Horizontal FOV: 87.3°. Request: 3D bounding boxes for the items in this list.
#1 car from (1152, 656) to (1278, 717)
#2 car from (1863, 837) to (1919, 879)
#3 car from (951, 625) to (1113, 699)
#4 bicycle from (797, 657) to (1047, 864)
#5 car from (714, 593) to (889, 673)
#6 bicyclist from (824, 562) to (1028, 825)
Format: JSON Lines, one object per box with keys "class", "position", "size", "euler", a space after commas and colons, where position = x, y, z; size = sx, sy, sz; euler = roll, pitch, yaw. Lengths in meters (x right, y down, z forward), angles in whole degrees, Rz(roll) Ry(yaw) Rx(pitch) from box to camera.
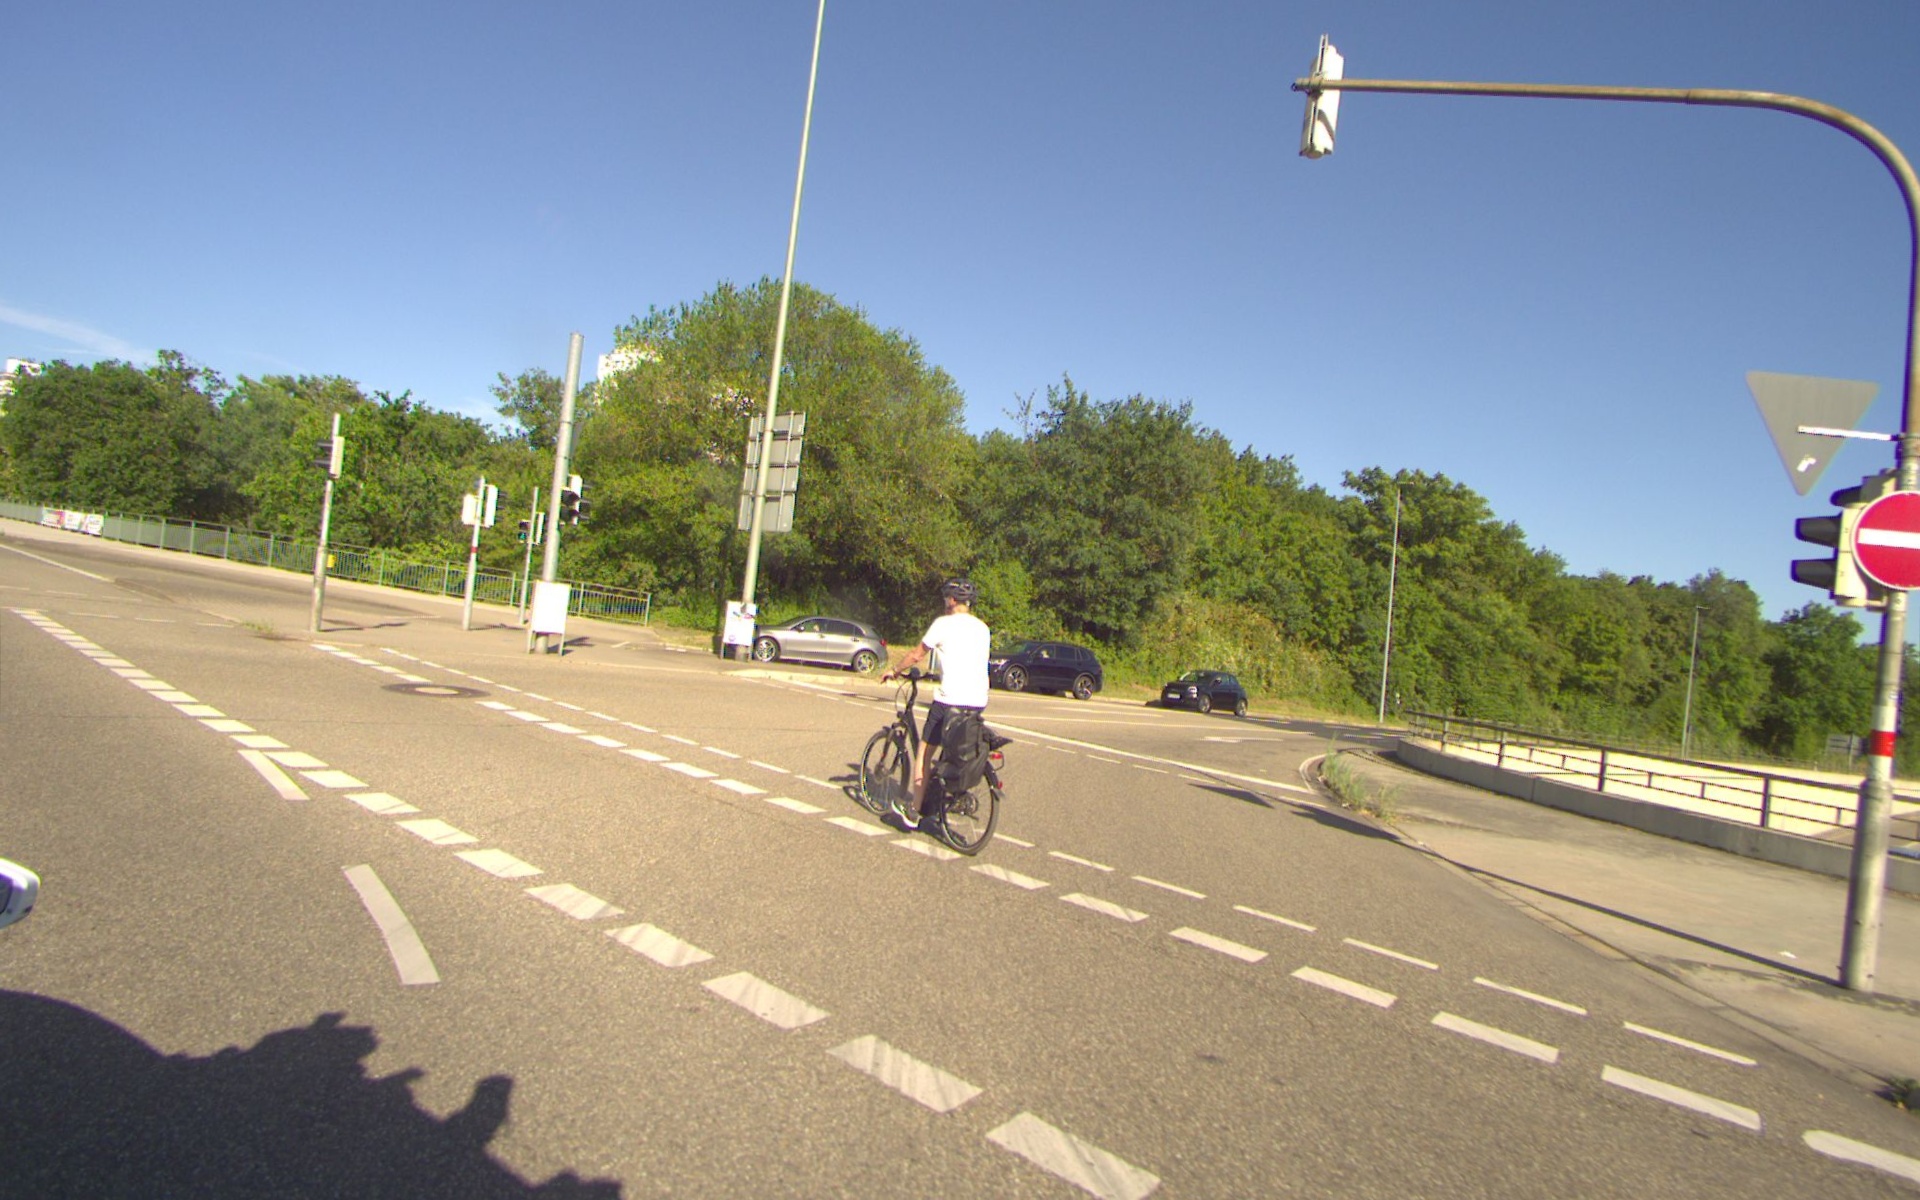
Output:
{"class": "car", "position": [9.080, 3.085, 35.619], "size": [4.645, 1.635, 1.841], "euler": [9, -2, -40]}
{"class": "car", "position": [49.972, 13.784, 53.986], "size": [1.975, 1.591, 3.981], "euler": [6, -3, 45]}
{"class": "car", "position": [2.229, 1.896, 30.506], "size": [4.637, 1.635, 1.843], "euler": [9, -1, -35]}
{"class": "bicycle", "position": [-0.328, 1.080, 7.148], "size": [0.689, 1.114, 1.806], "euler": [9, -2, -40]}
{"class": "car", "position": [-4.274, 0.888, 27.056], "size": [4.191, 1.570, 1.851], "euler": [8, -1, -24]}
{"class": "bicyclist", "position": [-0.257, 0.635, 7.145], "size": [0.721, 1.678, 1.101], "euler": [9, -2, -40]}
